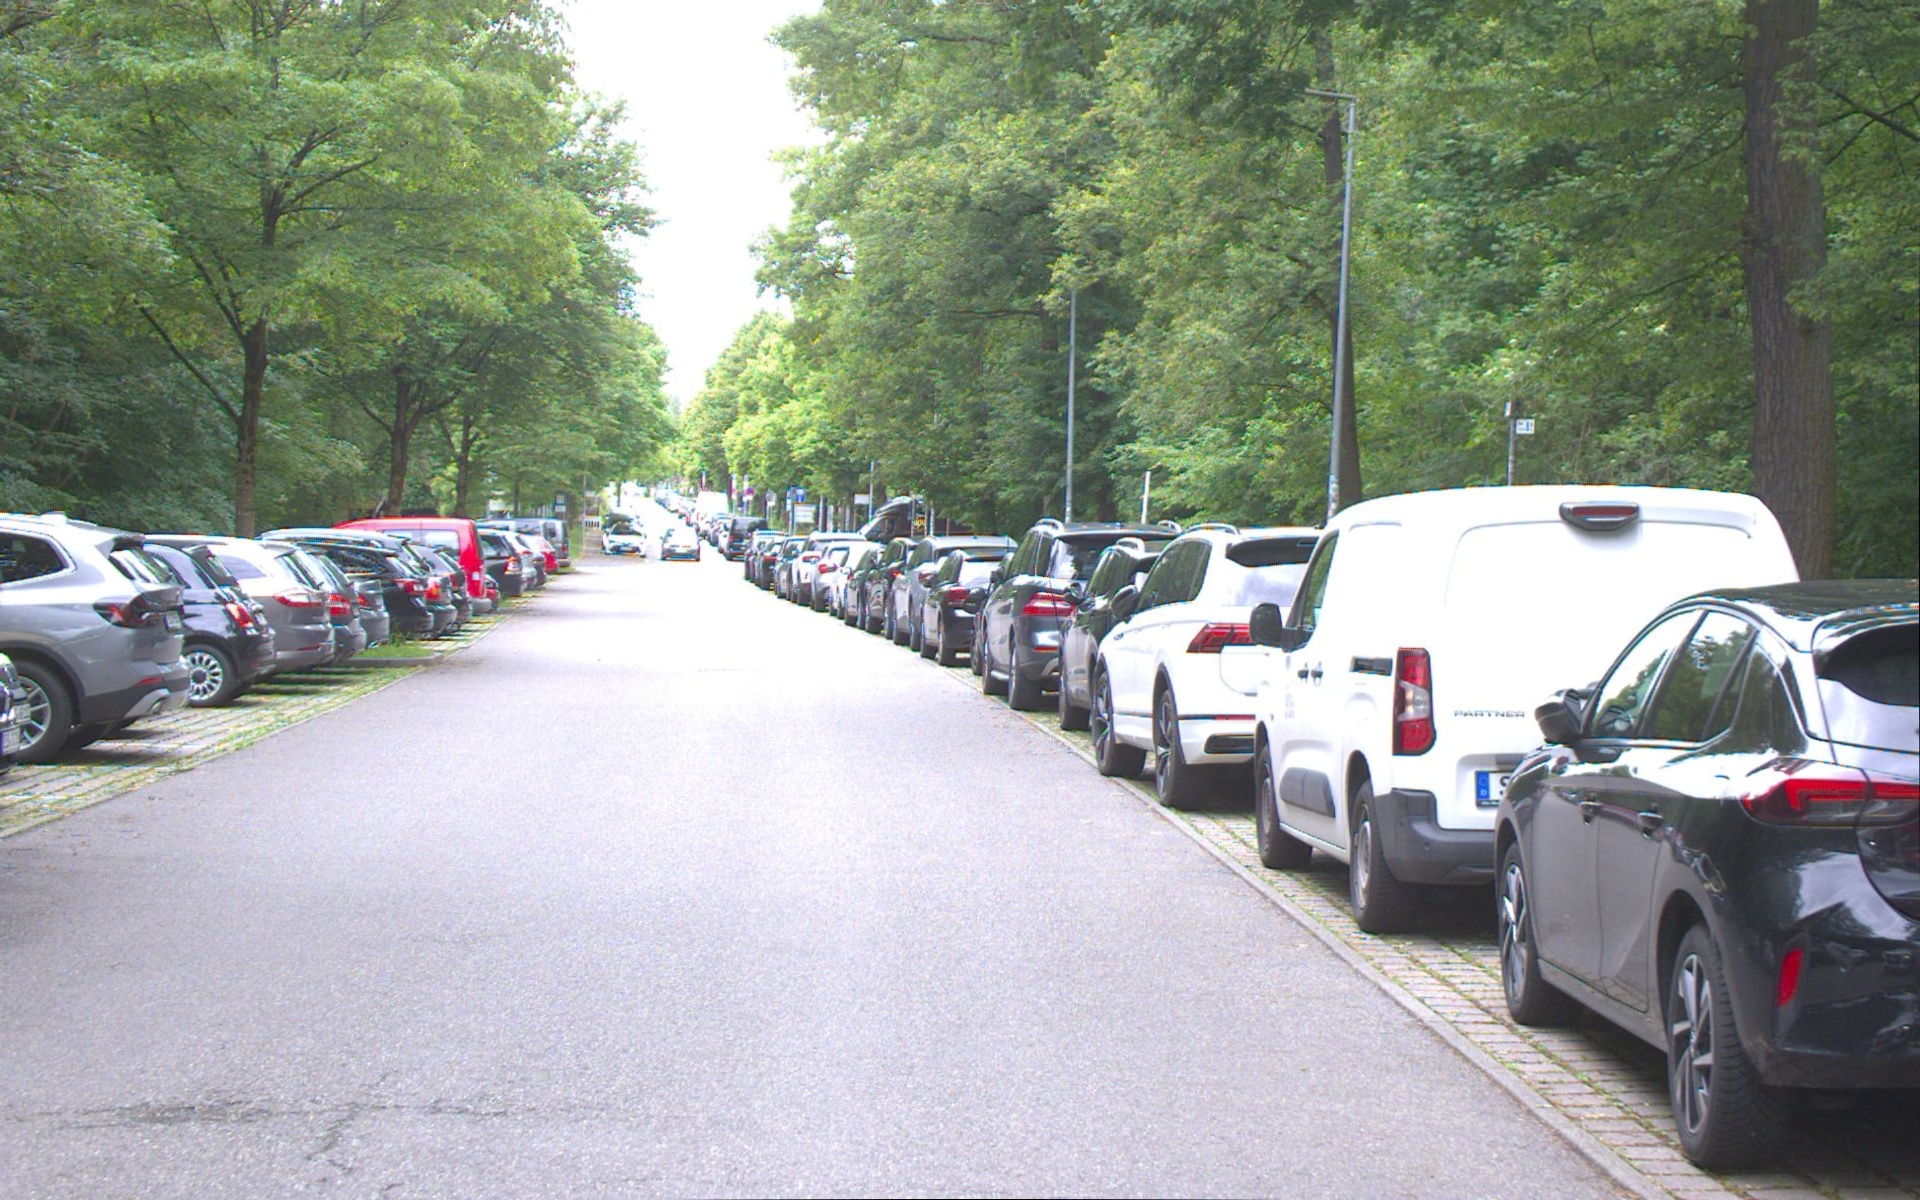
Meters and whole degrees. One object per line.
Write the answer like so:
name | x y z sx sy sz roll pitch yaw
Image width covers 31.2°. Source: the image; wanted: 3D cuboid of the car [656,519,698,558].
car | -12.182 -2.653 147.808 1.690 1.410 3.155 2 4 -6

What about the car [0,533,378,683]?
car | -8.274 0.069 36.075 4.109 1.475 1.997 1 1 -5

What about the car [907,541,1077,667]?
car | 0.351 0.017 43.575 1.636 1.472 4.152 1 1 -6

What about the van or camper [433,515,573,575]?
van or camper | -15.820 -1.894 118.952 4.473 1.861 1.920 1 4 -19

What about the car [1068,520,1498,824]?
car | 1.867 0.350 21.418 1.785 1.657 4.719 1 1 -5

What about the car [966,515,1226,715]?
car | 1.216 0.079 32.984 1.889 1.741 4.949 1 1 -4

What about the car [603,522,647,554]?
car | -14.575 -2.693 149.716 1.739 1.158 3.412 2 4 -3

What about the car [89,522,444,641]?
car | -9.743 -0.271 48.623 4.731 1.590 1.960 1 1 -5

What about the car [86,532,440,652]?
car | -8.792 -0.113 43.624 4.294 1.444 1.757 1 1 -9

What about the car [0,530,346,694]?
car | -8.165 0.096 33.732 4.088 1.518 1.930 1 1 -7

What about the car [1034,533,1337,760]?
car | 1.693 0.298 27.277 1.750 1.602 4.447 1 1 -4

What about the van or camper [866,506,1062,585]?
van or camper | 0.151 -2.204 138.764 7.321 2.879 2.651 1 4 -19

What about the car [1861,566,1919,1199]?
car | 2.860 0.746 4.275 1.993 1.474 4.972 1 1 -2

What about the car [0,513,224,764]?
car | -7.361 0.197 23.559 4.224 1.627 2.029 1 1 -3

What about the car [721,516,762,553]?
car | -9.720 -2.914 152.679 1.628 1.410 3.412 2 4 -6

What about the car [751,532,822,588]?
car | -4.975 -1.154 97.991 1.921 1.515 3.888 1 1 -4

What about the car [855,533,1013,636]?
car | -0.459 -0.272 55.035 1.977 1.532 4.167 1 1 -8

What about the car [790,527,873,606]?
car | -2.960 -0.790 78.677 1.710 1.722 4.001 1 1 -5

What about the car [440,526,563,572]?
car | -14.443 -1.608 108.170 3.576 1.356 1.829 1 1 -17

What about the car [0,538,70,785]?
car | -7.734 0.320 21.203 4.023 1.460 1.799 1 1 -1

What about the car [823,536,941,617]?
car | -1.545 -0.488 66.887 1.936 1.470 3.993 1 1 -6

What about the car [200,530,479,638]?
car | -9.184 -0.254 51.129 3.986 1.525 2.001 1 1 -9

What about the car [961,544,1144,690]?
car | 0.982 0.148 38.564 1.598 1.499 4.091 1 1 -4

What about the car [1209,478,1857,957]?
car | 2.327 0.399 15.221 1.744 1.774 4.553 1 1 -4

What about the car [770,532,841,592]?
car | -4.096 -1.020 90.816 1.710 1.504 4.001 1 1 -5

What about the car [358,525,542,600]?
car | -11.565 -0.855 78.135 3.986 1.634 1.735 1 1 -4

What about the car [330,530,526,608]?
car | -10.928 -0.656 70.832 3.832 1.531 1.871 1 1 -4

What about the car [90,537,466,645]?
car | -9.052 -0.131 45.963 4.731 1.338 1.988 1 1 -5

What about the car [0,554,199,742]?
car | -7.895 0.313 25.972 3.978 1.305 1.811 1 2 -6

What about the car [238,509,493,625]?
car | -9.652 -0.547 56.097 3.986 1.810 2.115 1 1 -7

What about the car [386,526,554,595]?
car | -12.160 -0.989 85.534 3.986 1.634 2.009 1 1 -4

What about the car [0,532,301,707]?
car | -8.357 0.134 31.222 4.400 1.483 1.838 1 1 -2

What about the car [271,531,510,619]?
car | -10.045 -0.451 60.934 3.986 1.469 2.115 1 1 -4

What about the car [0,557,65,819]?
car | -7.081 0.408 18.722 3.986 1.359 1.787 1 1 -4

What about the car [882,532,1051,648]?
car | 0.033 -0.176 49.418 1.978 1.532 4.622 1 1 -5

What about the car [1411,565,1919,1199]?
car | 2.520 0.652 9.831 1.725 1.418 4.284 1 1 -2

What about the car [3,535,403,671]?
car | -8.450 0.017 38.660 4.109 1.426 1.964 1 1 -2

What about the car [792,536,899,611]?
car | -2.448 -0.574 72.749 1.721 1.489 3.775 1 1 -10
